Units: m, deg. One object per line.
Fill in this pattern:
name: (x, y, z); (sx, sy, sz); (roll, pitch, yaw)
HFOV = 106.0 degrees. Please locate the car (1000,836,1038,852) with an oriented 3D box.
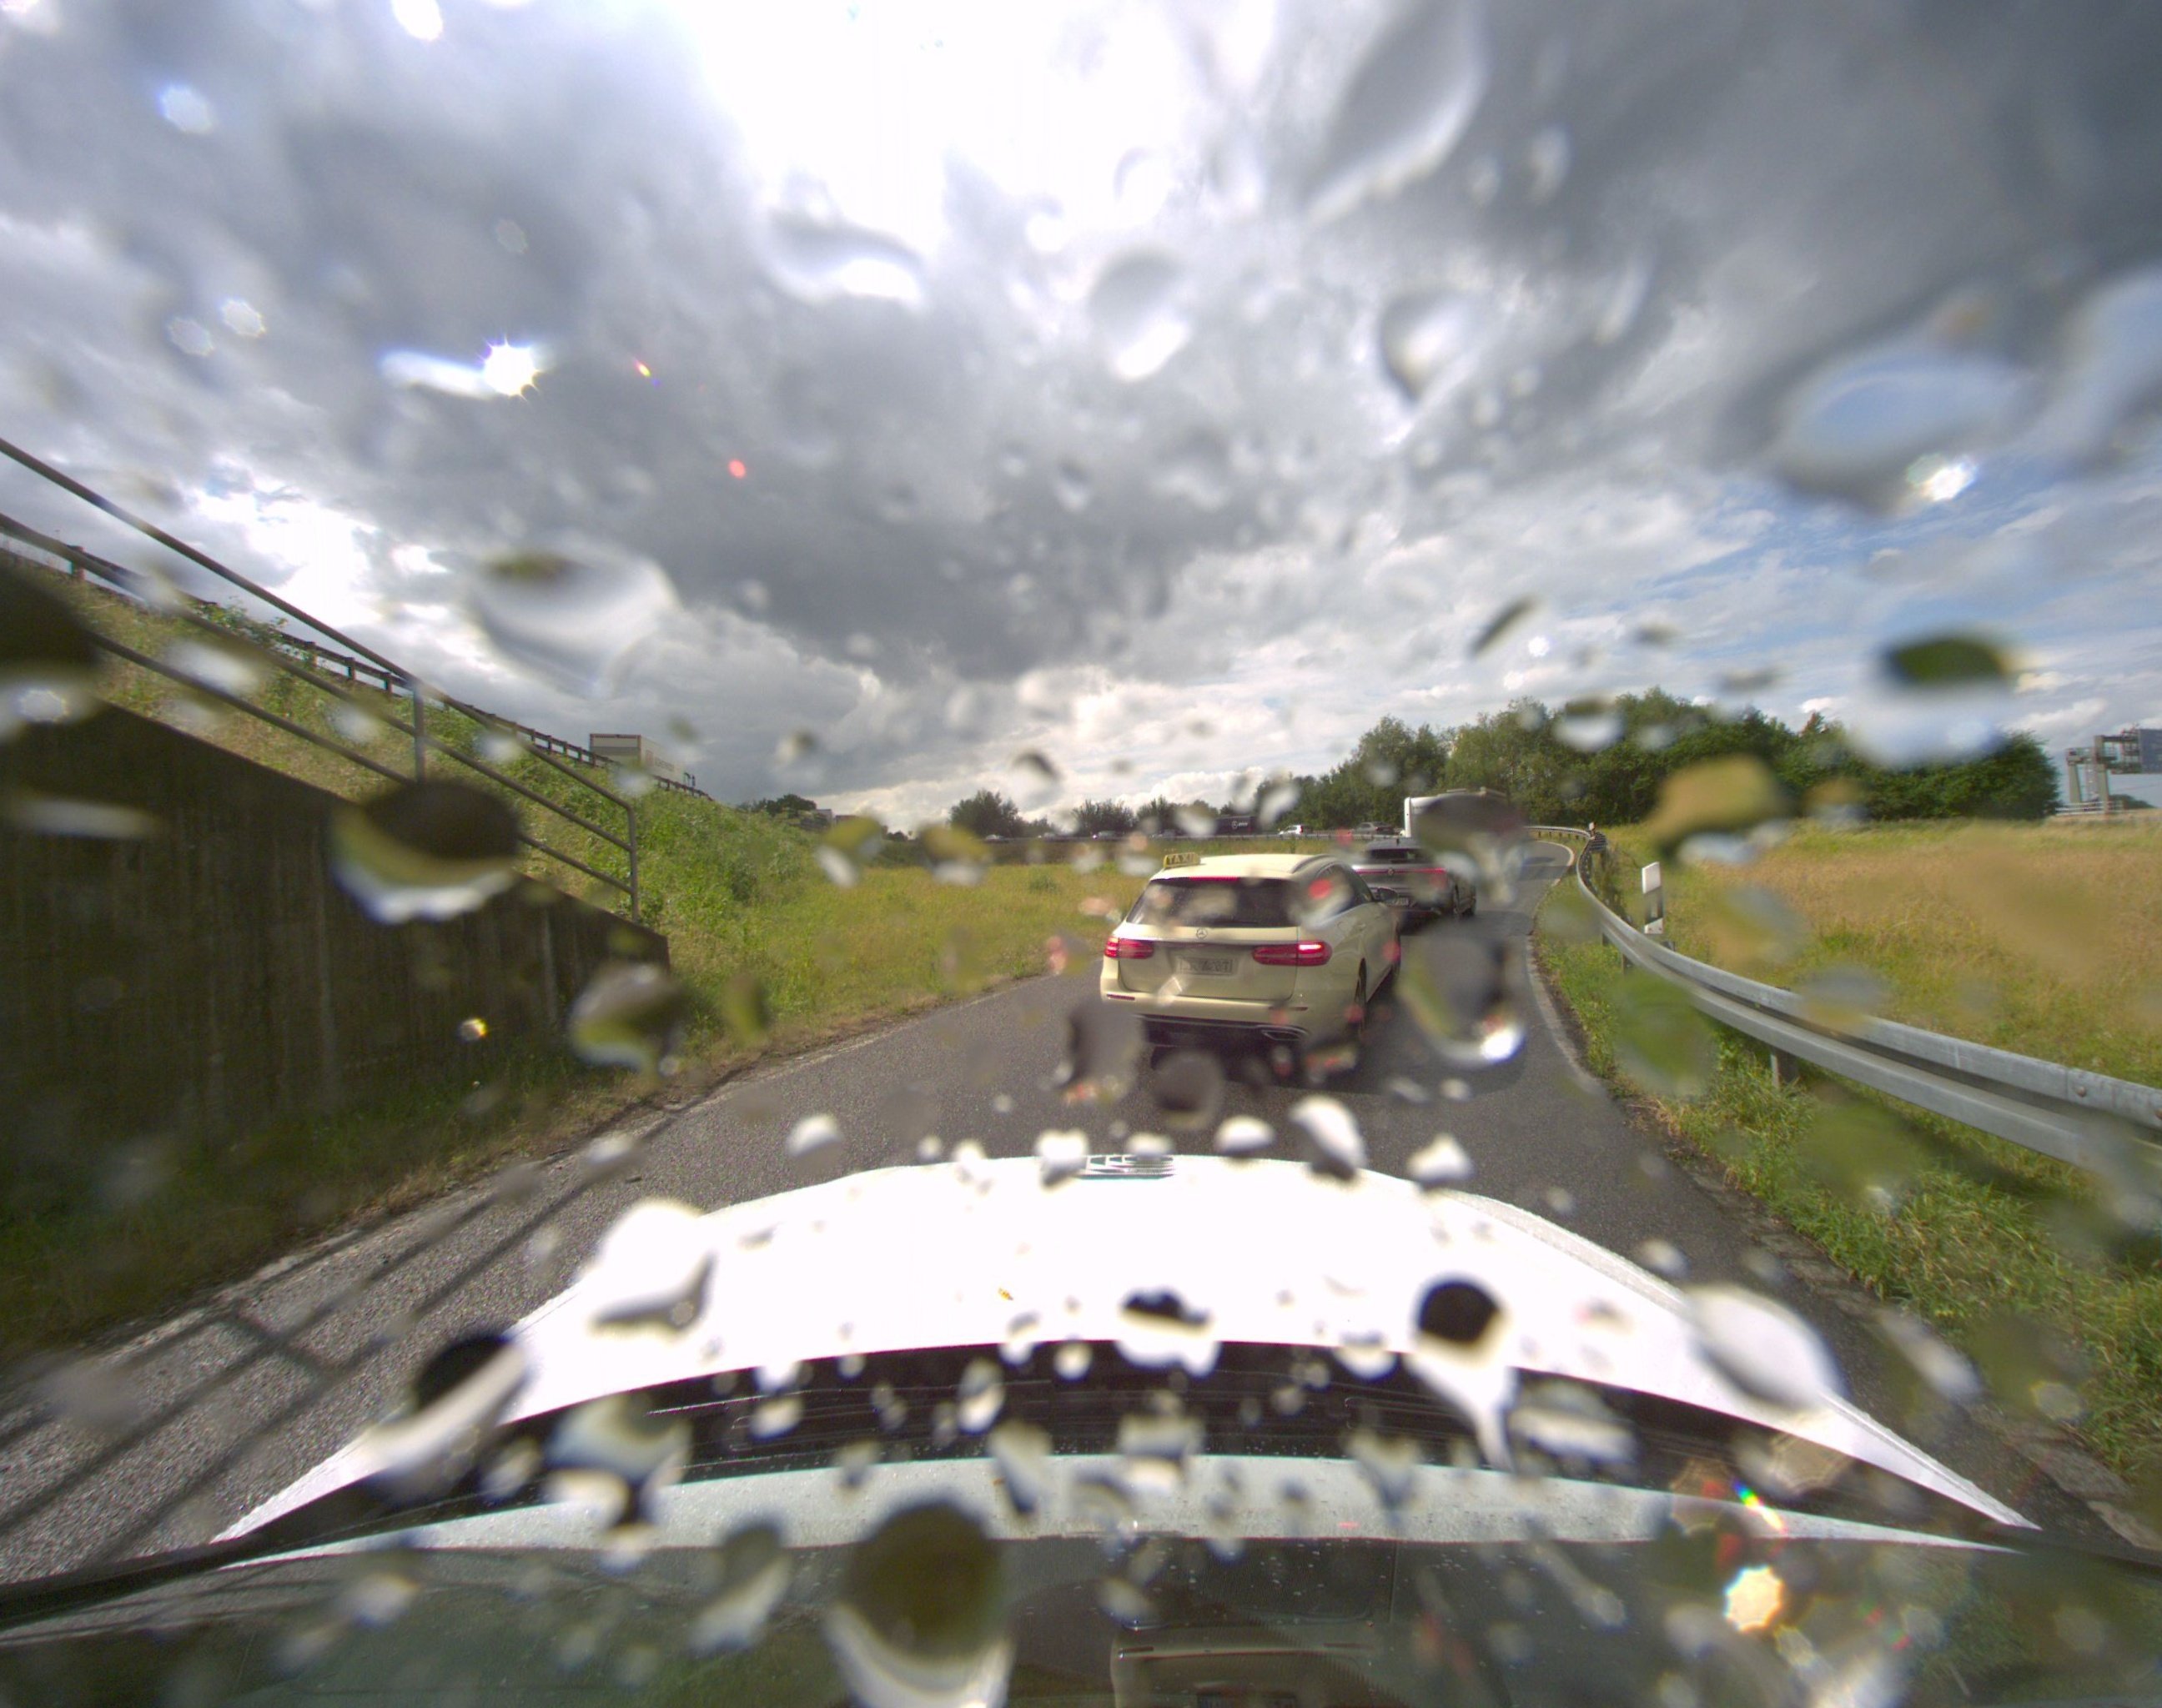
car: (-8.305, -1.269, 109.120); (4.457, 1.861, 2.010); (-3, -1, 21)

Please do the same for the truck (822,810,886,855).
truck: (-30.181, -2.647, 109.480); (4.452, 4.504, 19.342); (-2, -2, -4)

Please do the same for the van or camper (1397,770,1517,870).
van or camper: (11.919, -1.017, 25.518); (2.407, 2.729, 6.040); (-2, 1, 34)

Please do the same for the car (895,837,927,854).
car: (-22.666, -1.117, 108.629); (3.987, 2.014, 1.820); (-1, -3, -10)

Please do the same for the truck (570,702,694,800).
truck: (-25.219, -5.603, 46.386); (3.180, 3.967, 9.205); (-1, -3, -9)

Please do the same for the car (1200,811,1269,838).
car: (16.445, -3.129, 87.548); (2.890, 2.595, 6.902); (-3, 1, -40)

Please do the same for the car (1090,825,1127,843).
car: (3.380, -2.379, 99.845); (3.948, 2.014, 2.012); (0, -3, 33)

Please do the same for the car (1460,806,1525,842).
car: (24.467, -1.725, 48.642); (1.981, 1.861, 5.071); (-3, -1, 10)

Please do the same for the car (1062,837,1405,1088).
car: (1.752, 0.636, 7.474); (1.898, 1.507, 4.623); (-1, 1, 26)

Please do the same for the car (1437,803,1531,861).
car: (15.216, -0.861, 30.522); (2.404, 1.925, 5.798); (-2, 2, 34)

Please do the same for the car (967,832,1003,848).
car: (-13.592, -1.949, 114.951); (4.991, 1.861, 2.013); (-4, -1, 37)

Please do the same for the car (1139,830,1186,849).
car: (9.394, -1.716, 94.439); (4.991, 1.861, 2.013); (-4, -1, 38)

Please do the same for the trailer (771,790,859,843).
trailer: (-28.839, -3.813, 90.110); (4.405, 3.956, 20.183); (-2, -2, -4)

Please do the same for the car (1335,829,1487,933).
car: (5.883, 0.406, 14.239); (1.701, 1.525, 4.026); (-4, -1, 32)

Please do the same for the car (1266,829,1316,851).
car: (20.718, -1.406, 80.614); (2.003, 1.861, 5.015); (-3, -1, -25)

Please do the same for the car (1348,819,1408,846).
car: (24.774, -1.764, 68.143); (1.999, 1.861, 5.026); (-3, -1, -18)

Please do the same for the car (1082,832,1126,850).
car: (2.798, -1.532, 99.426); (4.993, 1.861, 2.012); (-3, -1, 29)
